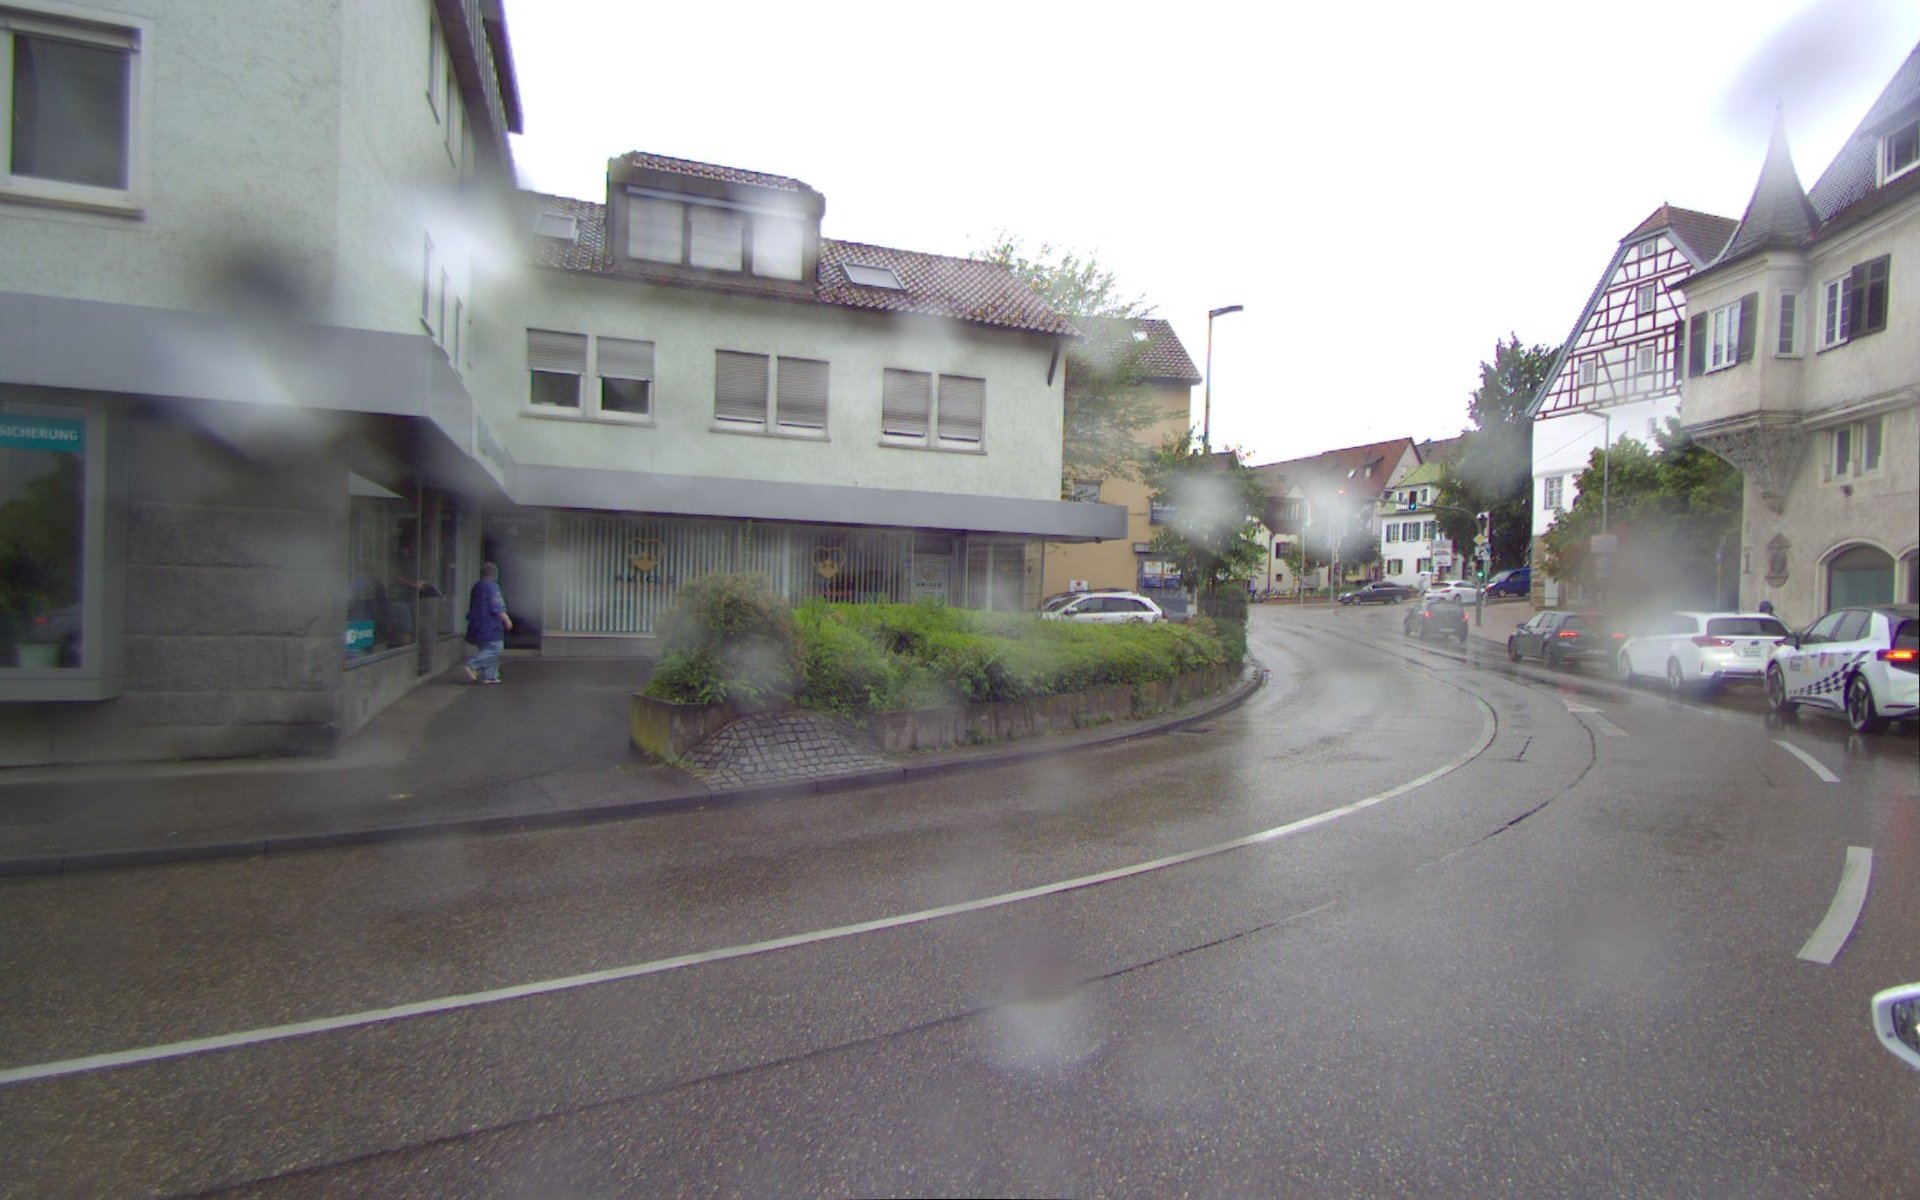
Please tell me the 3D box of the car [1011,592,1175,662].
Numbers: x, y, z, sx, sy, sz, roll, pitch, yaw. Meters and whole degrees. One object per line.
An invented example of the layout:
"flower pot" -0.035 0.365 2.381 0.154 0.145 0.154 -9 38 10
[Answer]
"car" 3.272 0.662 25.087 3.584 1.651 1.994 1 0 -14

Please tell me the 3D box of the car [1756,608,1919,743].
"car" 12.018 0.875 12.865 1.827 1.492 3.998 1 0 23

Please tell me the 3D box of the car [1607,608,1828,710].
"car" 13.907 0.981 18.782 1.853 1.617 4.327 1 0 16

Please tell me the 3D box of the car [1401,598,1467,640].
"car" 18.407 0.705 39.158 1.556 1.544 3.434 1 0 12

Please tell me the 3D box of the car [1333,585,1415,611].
"car" 26.385 -0.130 64.113 4.407 1.567 1.863 1 0 -2

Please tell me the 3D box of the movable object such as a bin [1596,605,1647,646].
"movable object such as a bin" 22.269 0.838 33.840 1.135 1.330 1.186 1 1 19

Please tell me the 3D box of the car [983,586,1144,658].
"car" 3.311 0.676 32.703 4.842 1.850 1.960 -5 3 -6

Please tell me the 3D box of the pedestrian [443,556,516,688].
"pedestrian" -6.400 0.283 13.410 0.851 1.694 0.614 1 1 -25

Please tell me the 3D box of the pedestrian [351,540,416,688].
"pedestrian" -7.430 0.174 12.968 0.664 1.844 0.614 1 1 -25

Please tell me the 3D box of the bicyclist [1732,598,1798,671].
"bicyclist" 17.484 0.733 21.842 0.671 1.538 1.031 1 1 9

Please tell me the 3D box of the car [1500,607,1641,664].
"car" 15.962 0.881 26.530 1.959 1.319 4.002 1 0 12

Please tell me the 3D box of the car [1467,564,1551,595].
"car" 35.696 -1.324 65.399 4.290 1.907 2.001 1 0 3

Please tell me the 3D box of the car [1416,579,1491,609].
"car" 28.584 -0.331 58.166 4.264 1.607 1.982 1 0 -33
